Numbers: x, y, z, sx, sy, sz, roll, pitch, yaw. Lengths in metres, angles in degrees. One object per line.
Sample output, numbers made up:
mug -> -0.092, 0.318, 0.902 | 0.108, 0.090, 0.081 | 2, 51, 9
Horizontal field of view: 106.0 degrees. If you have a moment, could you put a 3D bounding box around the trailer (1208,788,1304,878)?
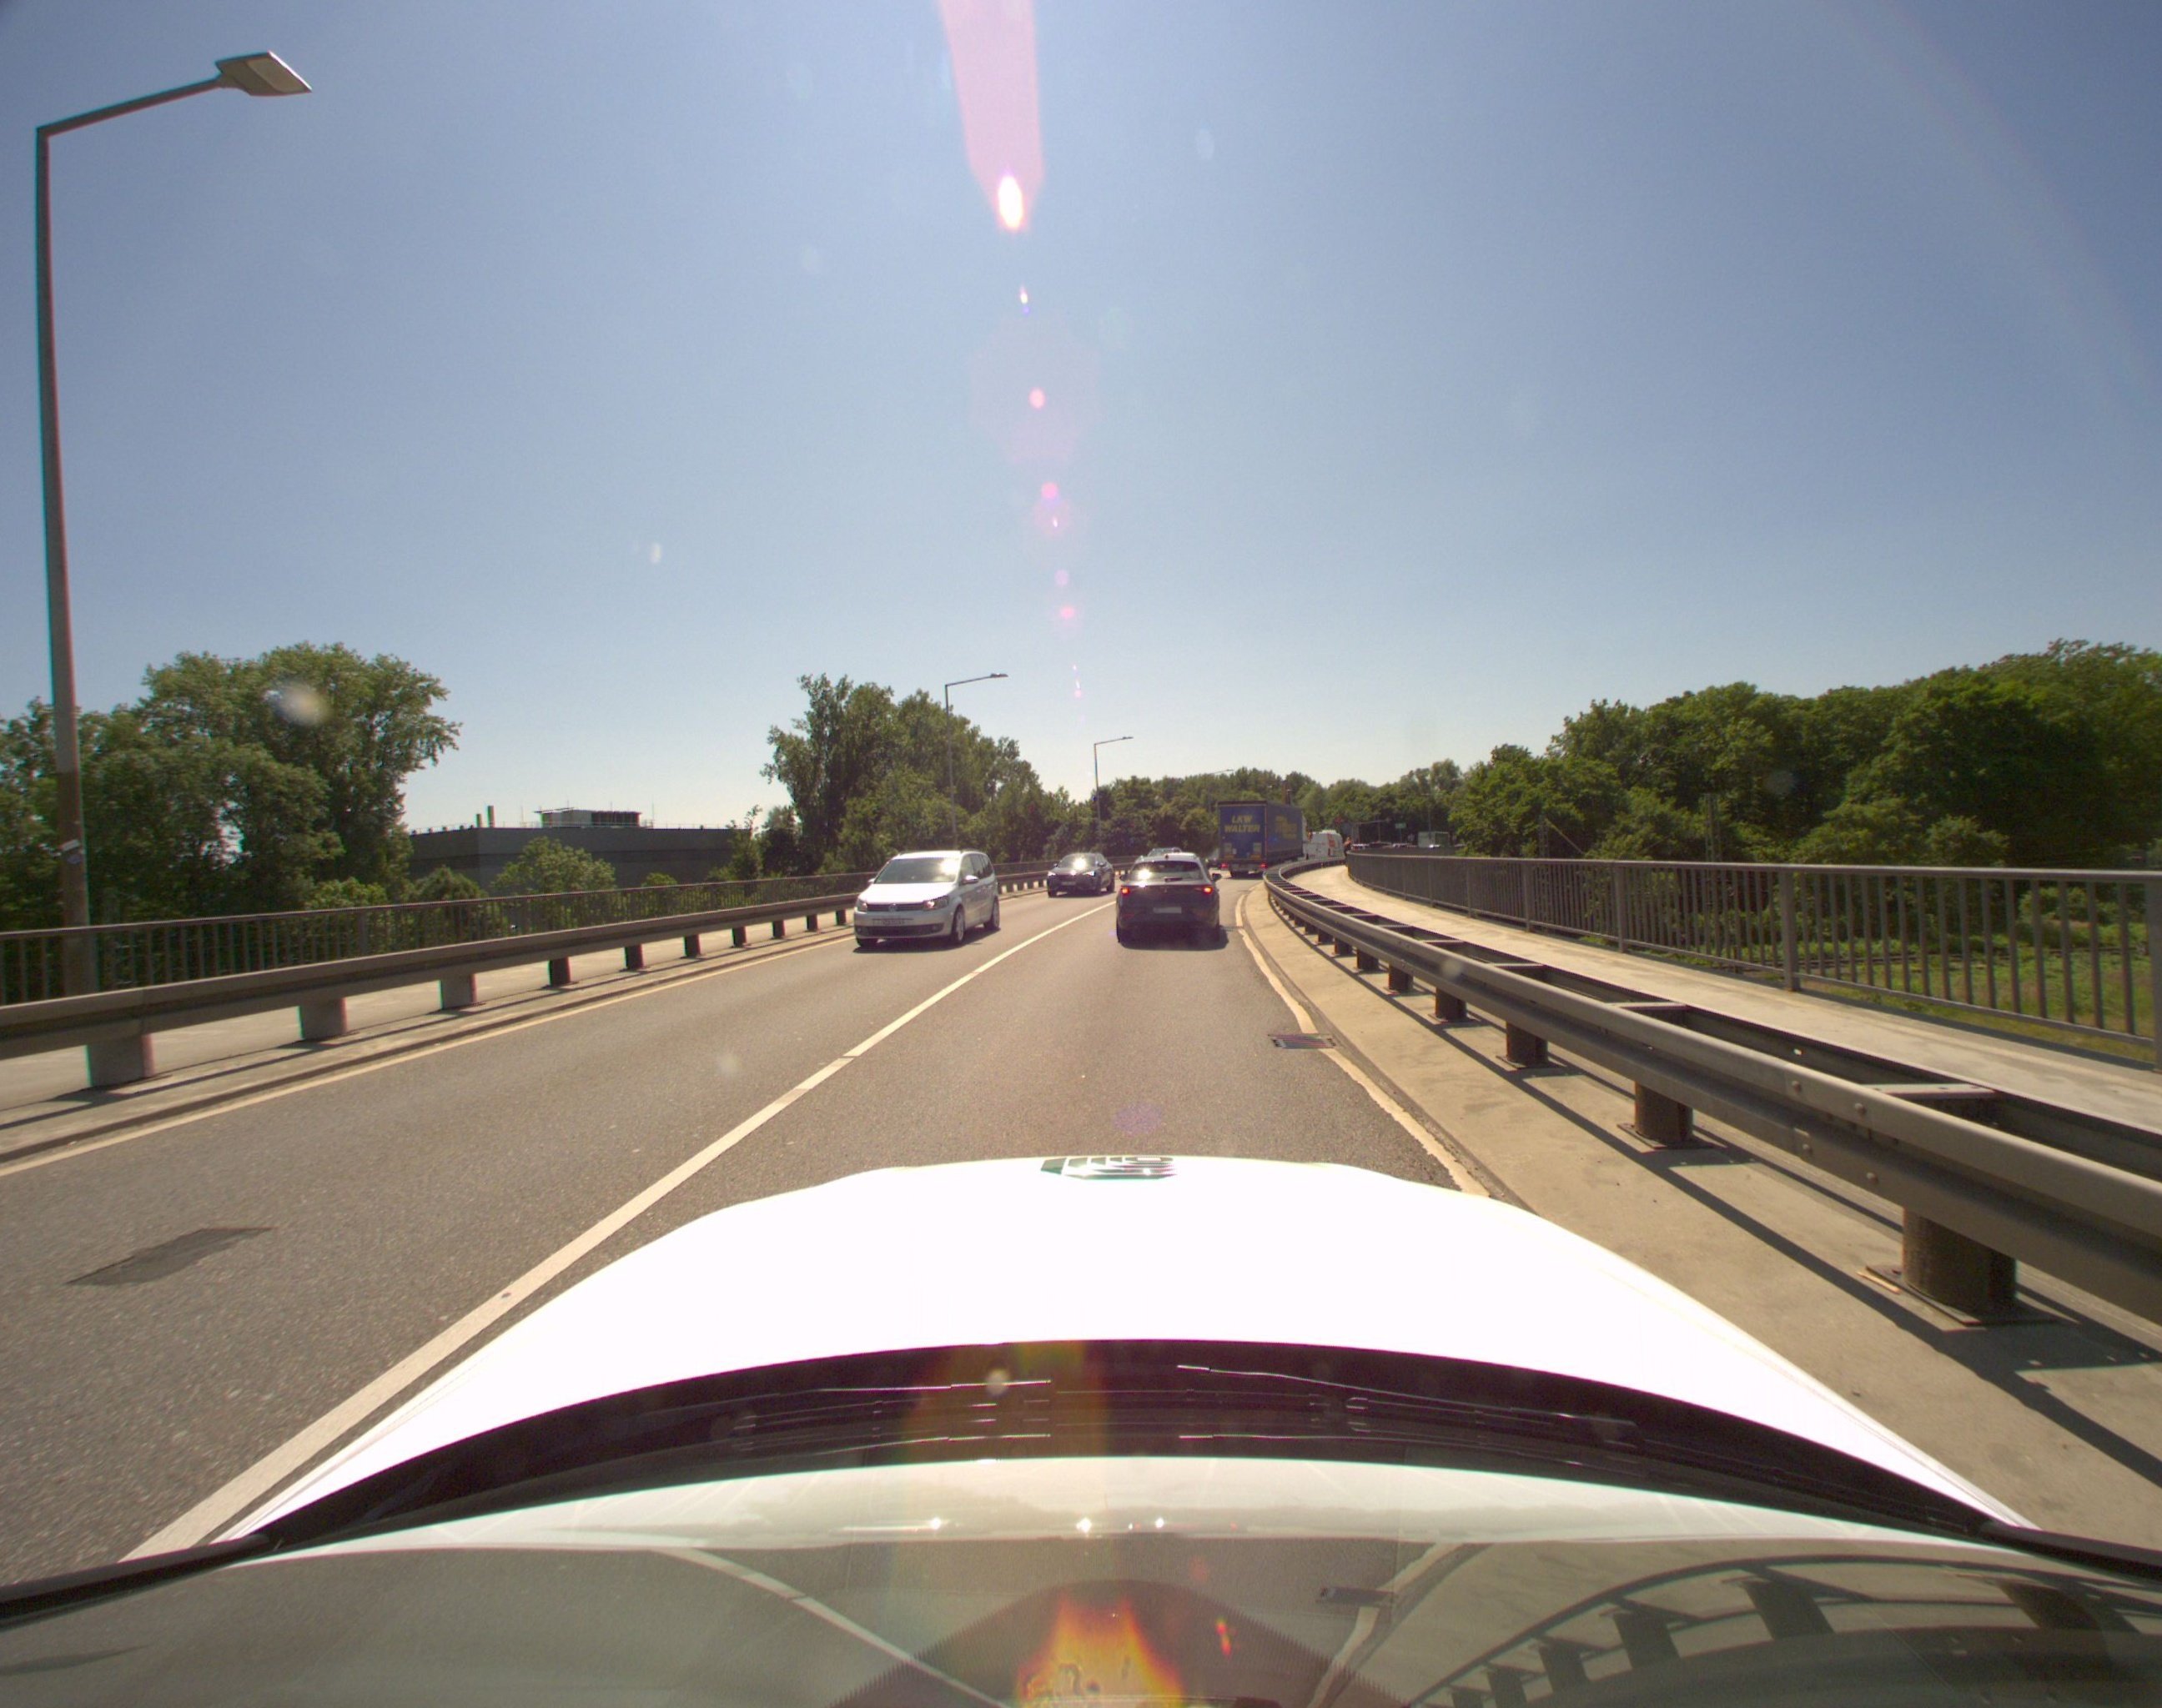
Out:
trailer -> 10.648, -1.046, 48.001 | 3.106, 4.614, 13.018 | -1, 0, 23

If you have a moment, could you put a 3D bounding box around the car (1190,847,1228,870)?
car -> 9.185, 0.326, 58.272 | 1.687, 1.510, 3.601 | -3, -1, 24

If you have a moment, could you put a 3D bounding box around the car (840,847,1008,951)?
car -> -2.710, 0.730, 15.066 | 1.705, 1.615, 4.128 | -2, 0, 8

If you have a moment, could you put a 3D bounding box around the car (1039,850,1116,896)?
car -> -0.042, 0.649, 29.523 | 1.874, 1.497, 4.330 | -2, -1, 12

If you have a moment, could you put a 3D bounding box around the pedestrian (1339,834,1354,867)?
pedestrian -> 16.159, -0.185, 49.502 | 0.730, 1.967, 0.738 | -1, -1, 25

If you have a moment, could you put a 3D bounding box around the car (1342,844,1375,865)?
car -> 25.294, 0.056, 74.183 | 1.870, 1.850, 4.025 | -1, -1, 33

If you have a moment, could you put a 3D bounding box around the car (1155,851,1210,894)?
car -> 3.704, 0.628, 29.370 | 1.582, 1.461, 3.557 | 0, 0, 13

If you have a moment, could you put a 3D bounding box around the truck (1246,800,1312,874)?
truck -> 13.384, -1.024, 54.606 | 3.142, 4.585, 7.436 | -1, -1, 22

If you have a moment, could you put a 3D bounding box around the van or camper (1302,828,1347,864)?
van or camper -> 19.608, -0.637, 65.319 | 2.182, 2.711, 5.963 | -1, 1, 29

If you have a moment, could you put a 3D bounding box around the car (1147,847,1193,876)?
car -> 5.398, 0.442, 48.946 | 1.890, 1.589, 4.019 | -2, -1, 19

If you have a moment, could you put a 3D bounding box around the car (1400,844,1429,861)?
car -> 37.086, -0.154, 90.562 | 1.870, 1.850, 4.025 | -1, -1, 39

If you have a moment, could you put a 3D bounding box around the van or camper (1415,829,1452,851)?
van or camper -> 44.900, -1.762, 103.702 | 4.987, 2.292, 2.462 | 4, 1, -44

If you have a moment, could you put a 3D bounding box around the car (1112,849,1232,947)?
car -> 1.576, 0.687, 14.654 | 1.837, 1.498, 3.763 | -1, 0, 4
